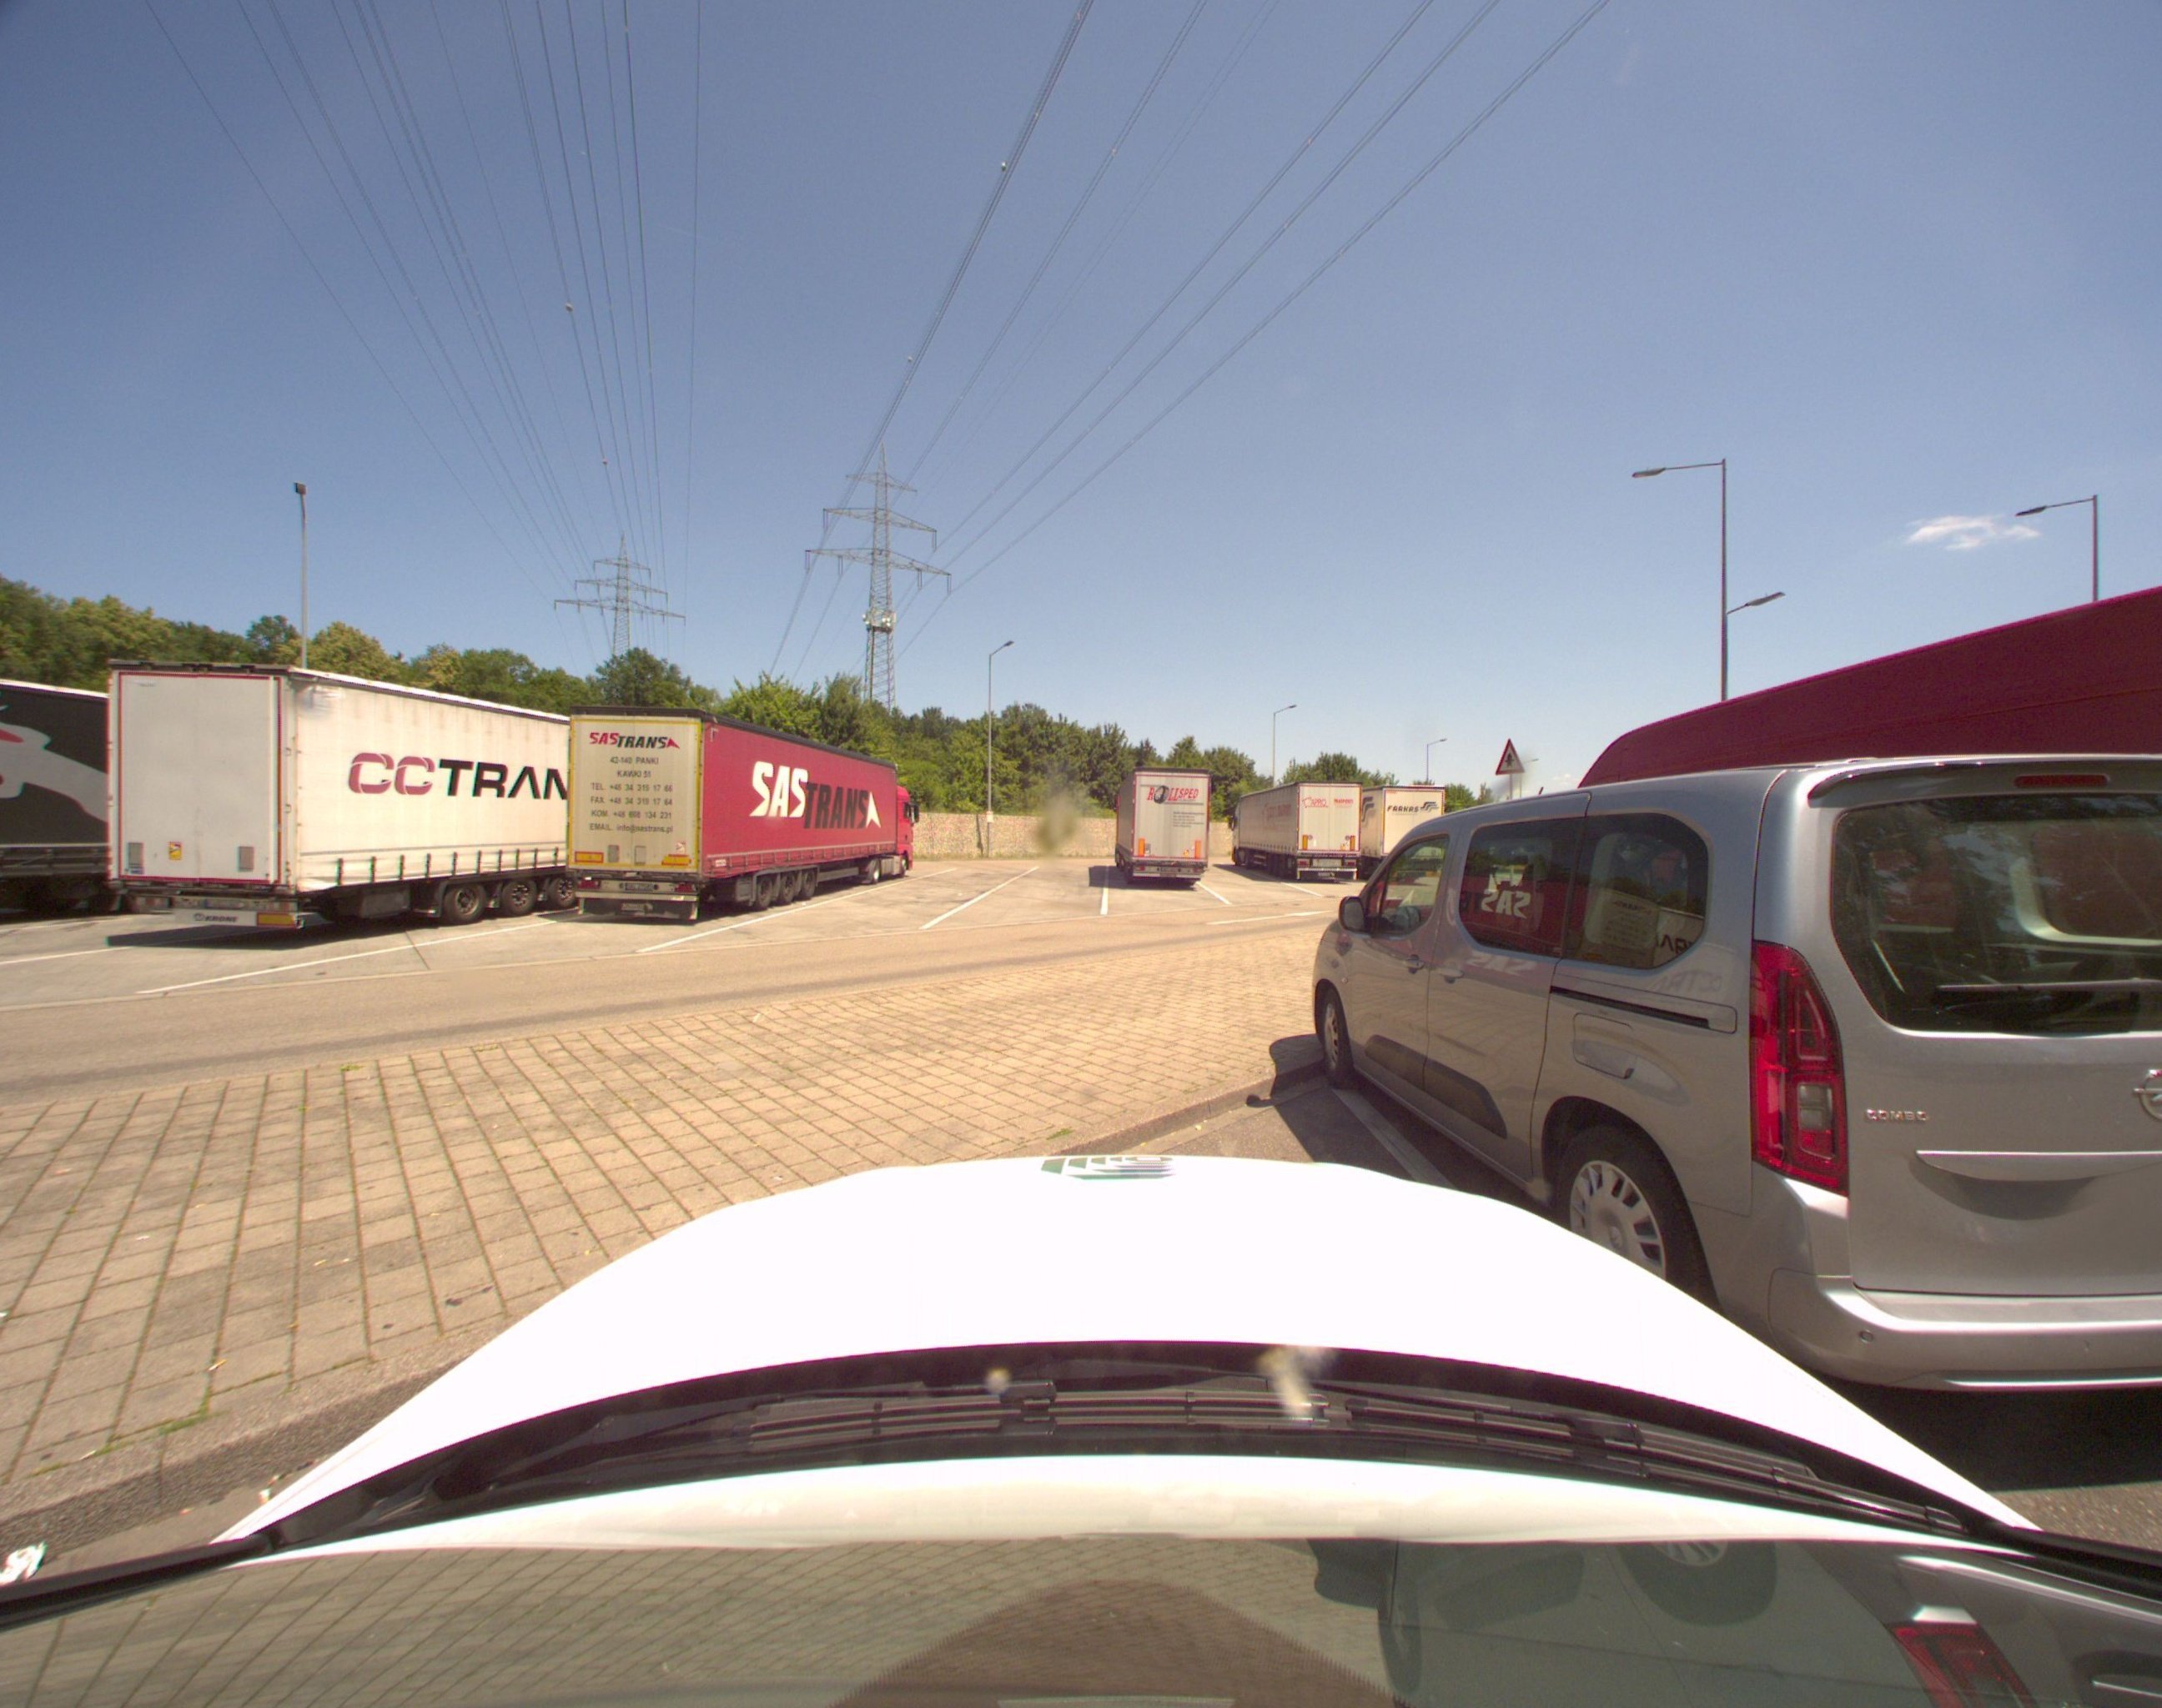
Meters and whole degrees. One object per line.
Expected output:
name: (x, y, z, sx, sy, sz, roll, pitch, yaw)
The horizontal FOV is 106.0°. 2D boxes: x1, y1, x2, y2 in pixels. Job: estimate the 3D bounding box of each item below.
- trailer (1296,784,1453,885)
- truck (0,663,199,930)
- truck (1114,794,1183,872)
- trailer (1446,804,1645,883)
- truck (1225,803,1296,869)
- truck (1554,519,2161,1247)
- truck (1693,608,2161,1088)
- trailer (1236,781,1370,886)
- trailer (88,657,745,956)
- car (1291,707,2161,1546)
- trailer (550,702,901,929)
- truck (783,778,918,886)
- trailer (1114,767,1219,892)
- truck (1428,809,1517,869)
trailer: (13.597, -1.032, 39.629, 2.801, 3.989, 14.403, 1, 2, 2)
truck: (-18.547, -0.972, 13.807, 2.726, 4.239, 3.997, 1, 2, 2)
truck: (3.224, -1.079, 40.612, 3.092, 3.566, 5.903, 1, 2, 2)
trailer: (24.094, -0.727, 43.776, 2.801, 3.507, 14.403, 1, 2, 2)
truck: (10.186, -1.072, 46.768, 2.852, 3.521, 5.903, 1, 2, 2)
truck: (5.128, 0.124, 4.929, 1.968, 2.622, 5.314, 0, -1, 7)
truck: (7.984, -0.031, 6.478, 2.444, 2.912, 5.663, -1, -1, 7)
trailer: (9.924, -1.042, 38.667, 2.801, 3.989, 14.403, 1, 2, 2)
trailer: (-12.134, -0.913, 18.359, 2.785, 4.084, 14.139, 1, 2, 2)
car: (2.482, 0.578, 3.906, 1.864, 1.863, 4.176, 1, 1, 0)
trailer: (-8.070, -0.948, 21.928, 2.781, 4.084, 14.139, 1, 2, 2)
truck: (-7.822, -0.786, 28.498, 2.840, 3.327, 5.903, 1, 2, 2)
trailer: (3.058, -1.063, 33.718, 3.122, 3.989, 14.401, 1, 2, 1)
truck: (24.351, -0.999, 51.007, 2.792, 3.521, 5.903, 1, 2, 2)
